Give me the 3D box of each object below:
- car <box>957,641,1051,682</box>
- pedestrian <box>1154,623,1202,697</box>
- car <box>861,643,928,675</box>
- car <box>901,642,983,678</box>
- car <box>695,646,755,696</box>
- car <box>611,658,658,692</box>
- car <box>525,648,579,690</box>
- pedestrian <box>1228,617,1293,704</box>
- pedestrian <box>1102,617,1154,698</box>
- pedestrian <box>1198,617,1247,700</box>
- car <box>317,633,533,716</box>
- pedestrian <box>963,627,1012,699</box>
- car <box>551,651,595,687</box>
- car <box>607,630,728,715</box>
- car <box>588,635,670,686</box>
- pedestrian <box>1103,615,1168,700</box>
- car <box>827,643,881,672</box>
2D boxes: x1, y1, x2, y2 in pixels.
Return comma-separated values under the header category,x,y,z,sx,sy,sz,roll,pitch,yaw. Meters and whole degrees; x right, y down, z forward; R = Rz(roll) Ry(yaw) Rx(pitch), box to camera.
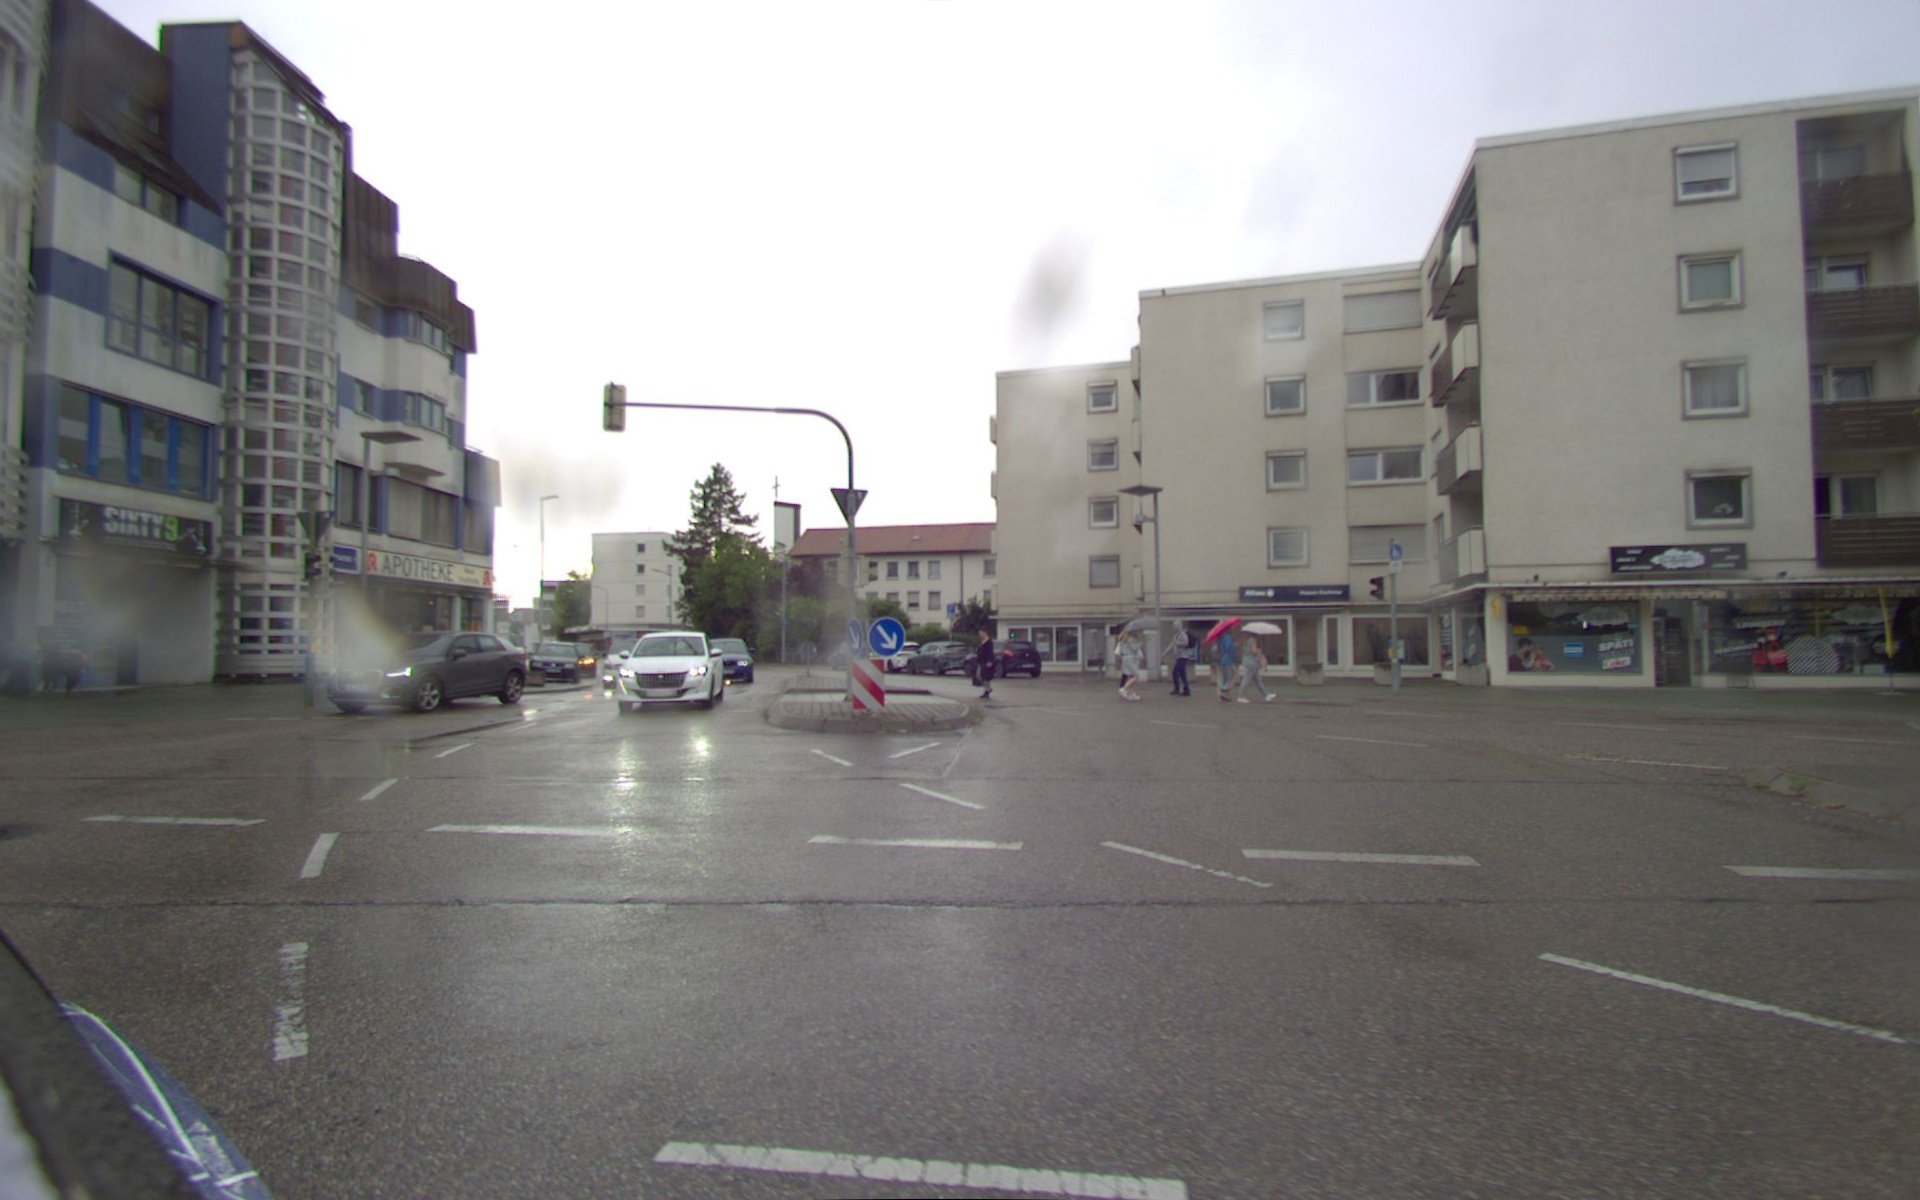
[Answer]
category,x,y,z,sx,sy,sz,roll,pitch,yaw
car,1.660,2.379,39.750,1.806,1.471,4.201,0,-2,-28
pedestrian,5.043,1.389,23.437,0.702,1.668,0.817,2,-3,-28
car,-3.224,2.841,49.142,1.609,1.511,4.360,1,-3,-28
car,-0.845,2.612,44.437,1.806,1.445,4.287,0,-2,-28
car,-7.455,2.228,32.349,1.723,1.466,3.822,1,-2,-11
car,-14.566,3.321,45.455,1.771,1.379,3.984,1,-2,-14
car,-14.861,2.499,36.999,1.627,1.382,3.743,3,-4,-19
pedestrian,6.000,1.203,20.246,0.924,1.690,0.918,0,-3,-6
pedestrian,3.701,1.270,22.381,0.822,1.749,0.956,1,-3,-13
pedestrian,5.456,1.207,21.066,0.662,1.698,0.809,1,-3,-15
car,-10.279,1.381,19.818,1.715,1.455,4.036,-1,-2,8
pedestrian,0.622,1.423,22.965,0.914,1.597,0.648,-3,-4,43
car,-16.426,2.902,43.087,1.631,1.435,4.012,1,-3,-20
car,-5.554,1.364,19.635,1.716,1.420,3.902,-2,-3,-8
car,-10.651,1.977,32.838,1.708,1.540,4.068,0,-4,-6
pedestrian,3.722,1.211,21.537,1.120,1.757,0.861,0,-3,-9
car,-5.729,3.068,54.319,1.606,1.517,3.893,1,-3,-27
